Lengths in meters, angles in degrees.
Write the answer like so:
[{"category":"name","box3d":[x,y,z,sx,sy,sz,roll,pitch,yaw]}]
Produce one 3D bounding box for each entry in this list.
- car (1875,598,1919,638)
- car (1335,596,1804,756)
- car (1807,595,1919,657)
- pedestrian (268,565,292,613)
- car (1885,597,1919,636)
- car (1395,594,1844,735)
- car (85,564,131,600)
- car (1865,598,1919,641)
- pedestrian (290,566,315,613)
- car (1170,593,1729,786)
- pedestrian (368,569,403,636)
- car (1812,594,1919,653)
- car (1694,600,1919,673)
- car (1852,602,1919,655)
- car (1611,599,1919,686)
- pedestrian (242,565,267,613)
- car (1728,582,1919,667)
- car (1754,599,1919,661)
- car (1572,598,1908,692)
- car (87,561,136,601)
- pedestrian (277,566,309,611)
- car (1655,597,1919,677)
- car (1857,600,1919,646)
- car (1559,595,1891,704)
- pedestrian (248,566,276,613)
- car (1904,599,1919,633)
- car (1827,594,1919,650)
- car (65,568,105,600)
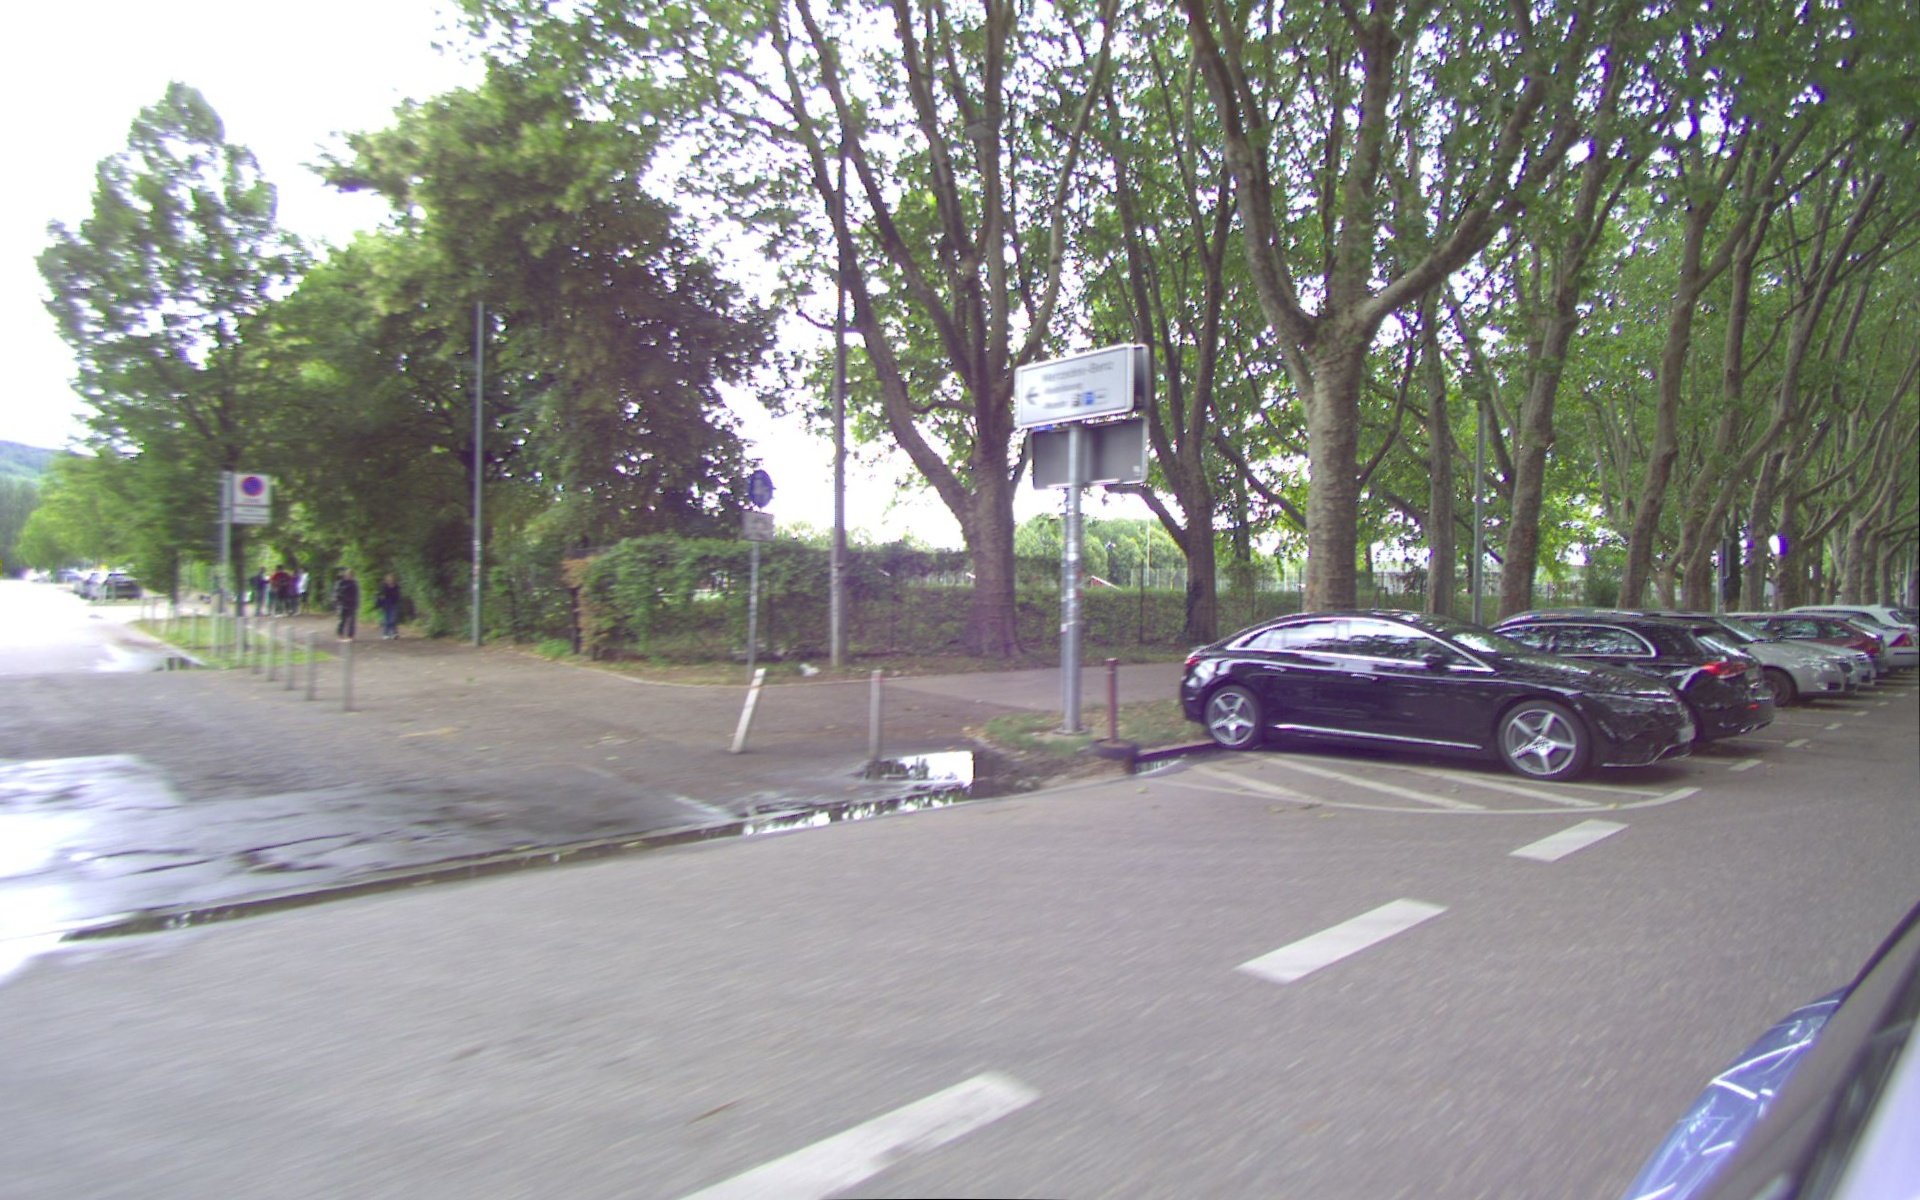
[{"category":"car","box3d":[43.237,0.756,44.100,1.962,1.773,4.677,0,-1,-36]},{"category":"car","box3d":[6.950,0.713,11.911,1.966,1.496,4.376,-1,1,-42]},{"category":"car","box3d":[27.764,0.743,29.657,1.962,1.773,4.118,0,-1,-36]},{"category":"pedestrian","box3d":[-23.648,-0.377,35.196,0.685,1.664,0.725,0,0,-35]},{"category":"car","box3d":[45.294,0.715,45.852,1.962,1.773,4.677,0,-1,-36]},{"category":"car","box3d":[8.563,0.768,13.512,1.966,1.543,4.668,0,-2,-42]},{"category":"car","box3d":[-49.718,-1.031,59.107,1.965,2.039,3.995,0,0,-40]},{"category":"car","box3d":[40.446,0.783,41.482,1.962,1.773,4.677,0,-1,-36]},{"category":"pedestrian","box3d":[-23.589,-0.388,36.307,0.711,1.664,0.698,0,0,-35]},{"category":"car","box3d":[4.761,0.767,10.491,1.966,1.525,4.824,0,-2,-42]},{"category":"pedestrian","box3d":[-13.947,0.058,24.550,0.685,1.587,0.725,0,0,-35]},{"category":"car","box3d":[29.688,0.713,31.339,1.962,1.773,4.677,0,-1,-36]},{"category":"car","box3d":[19.975,0.806,23.219,1.962,1.542,4.677,0,-1,-36]},{"category":"car","box3d":[33.373,0.929,34.076,1.962,1.773,4.677,0,-1,-36]},{"category":"car","box3d":[16.246,0.809,20.532,1.962,1.542,4.678,0,-1,-35]},{"category":"pedestrian","box3d":[-24.784,-0.375,35.544,0.711,1.664,0.698,0,0,-35]},{"category":"car","box3d":[21.997,0.586,24.772,1.962,1.927,4.677,0,-1,-36]},{"category":"car","box3d":[25.395,0.824,28.259,1.962,1.632,4.677,0,-1,-36]},{"category":"car","box3d":[14.479,0.757,19.090,1.868,1.542,4.679,0,-1,-35]},{"category":"car","box3d":[-45.860,-1.010,54.738,1.965,2.039,3.995,0,0,-40]},{"category":"pedestrian","box3d":[-24.474,-0.420,37.133,0.686,1.664,0.724,0,0,5]},{"category":"car","box3d":[18.084,0.767,21.854,1.962,1.542,4.677,0,-1,-36]},{"category":"car","box3d":[38.082,0.855,39.172,1.962,1.773,4.677,0,-1,-36]},{"category":"car","box3d":[12.684,0.718,17.054,1.788,1.544,4.106,0,1,-31]},{"category":"pedestrian","box3d":[-25.235,-0.382,36.567,0.722,1.664,0.688,0,0,42]},{"category":"car","box3d":[51.188,0.766,51.215,1.962,1.773,4.677,0,-1,-36]},{"category":"car","box3d":[31.347,0.694,32.710,1.962,1.773,4.677,0,-1,-36]},{"category":"car","box3d":[-58.569,-1.067,67.781,1.965,2.039,3.995,0,0,-40]}]
